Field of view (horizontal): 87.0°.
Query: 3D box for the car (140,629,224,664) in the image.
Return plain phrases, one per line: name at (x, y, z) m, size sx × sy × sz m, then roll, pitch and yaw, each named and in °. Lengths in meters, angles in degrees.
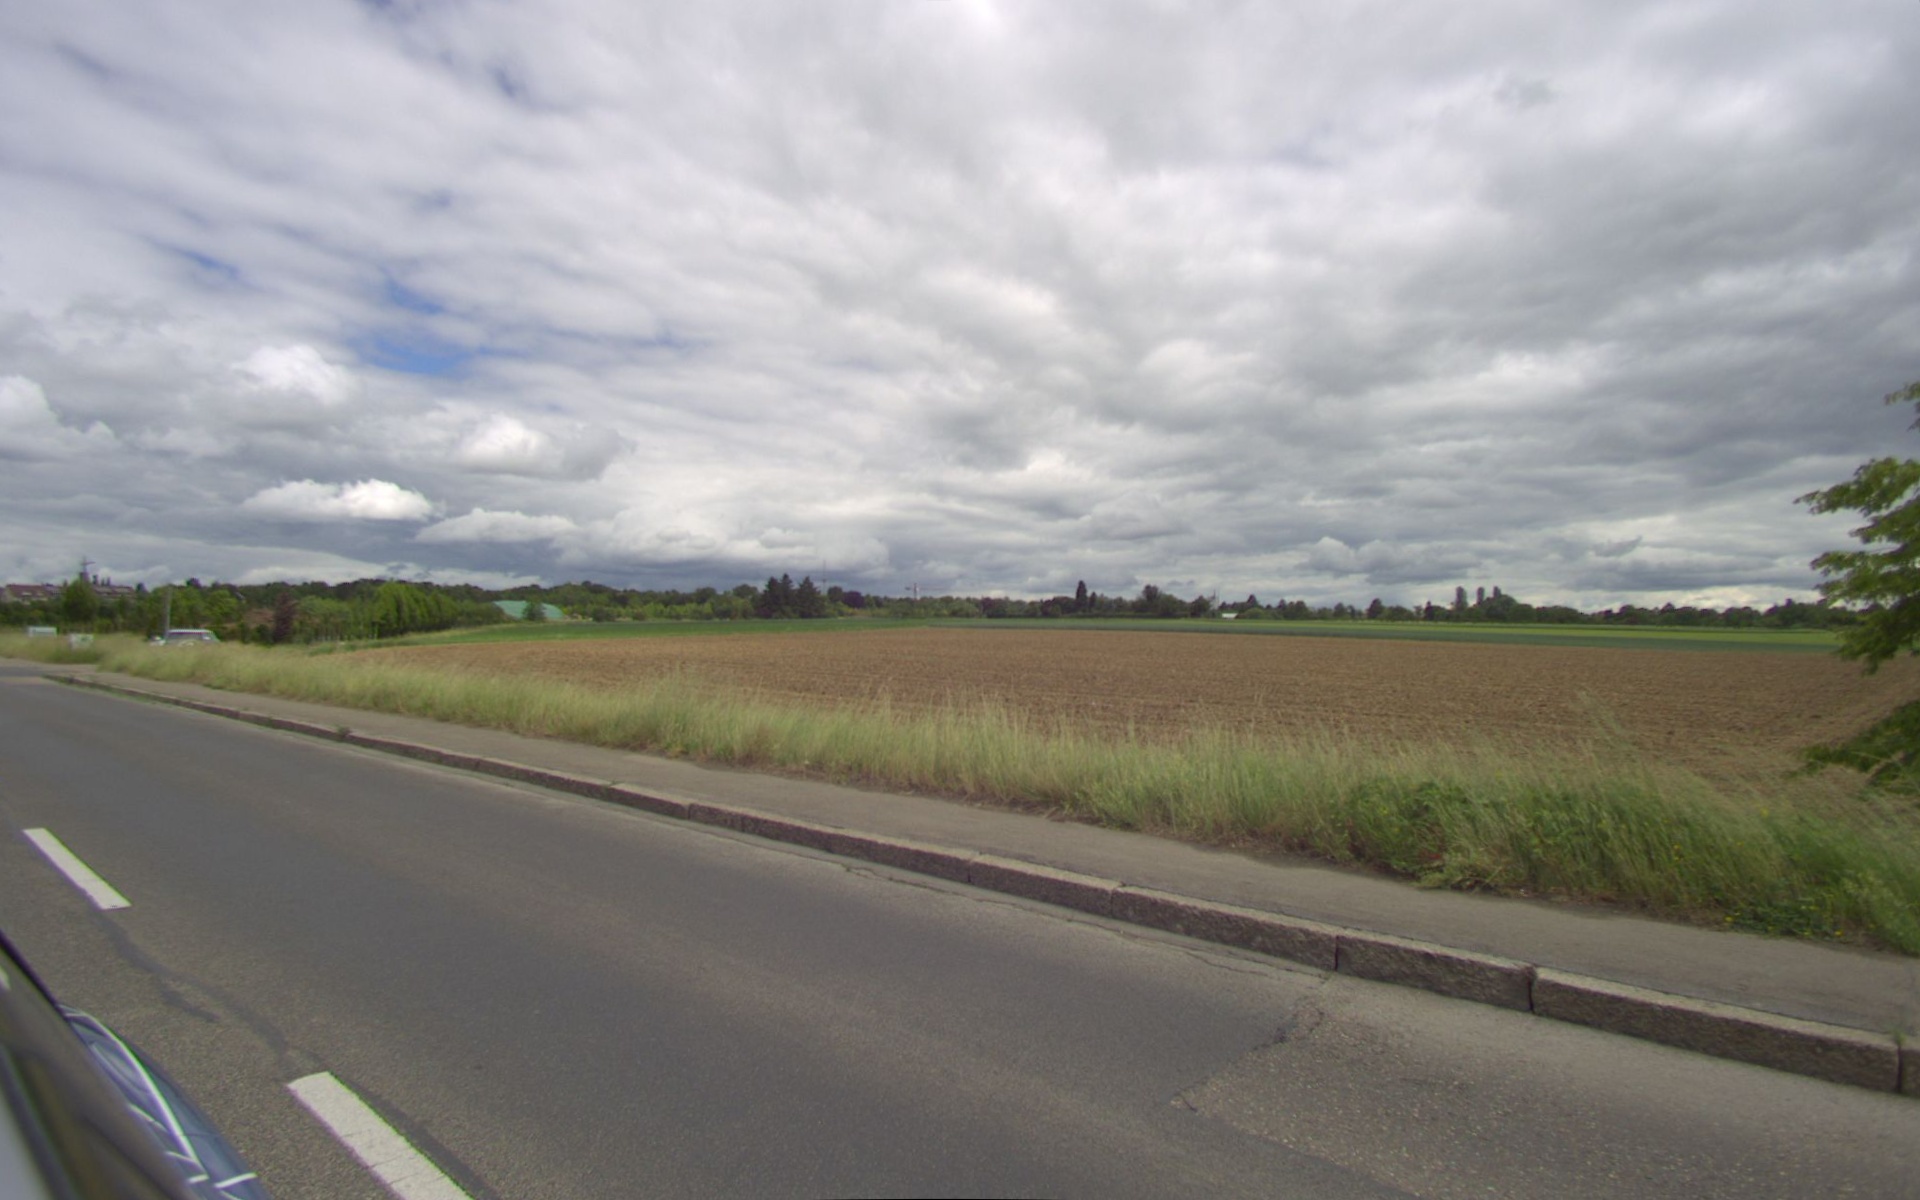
car at (-34.832, 2.092, 45.429) m, size 1.941 × 1.465 × 4.013 m, roll 0°, pitch -3°, yaw -22°
